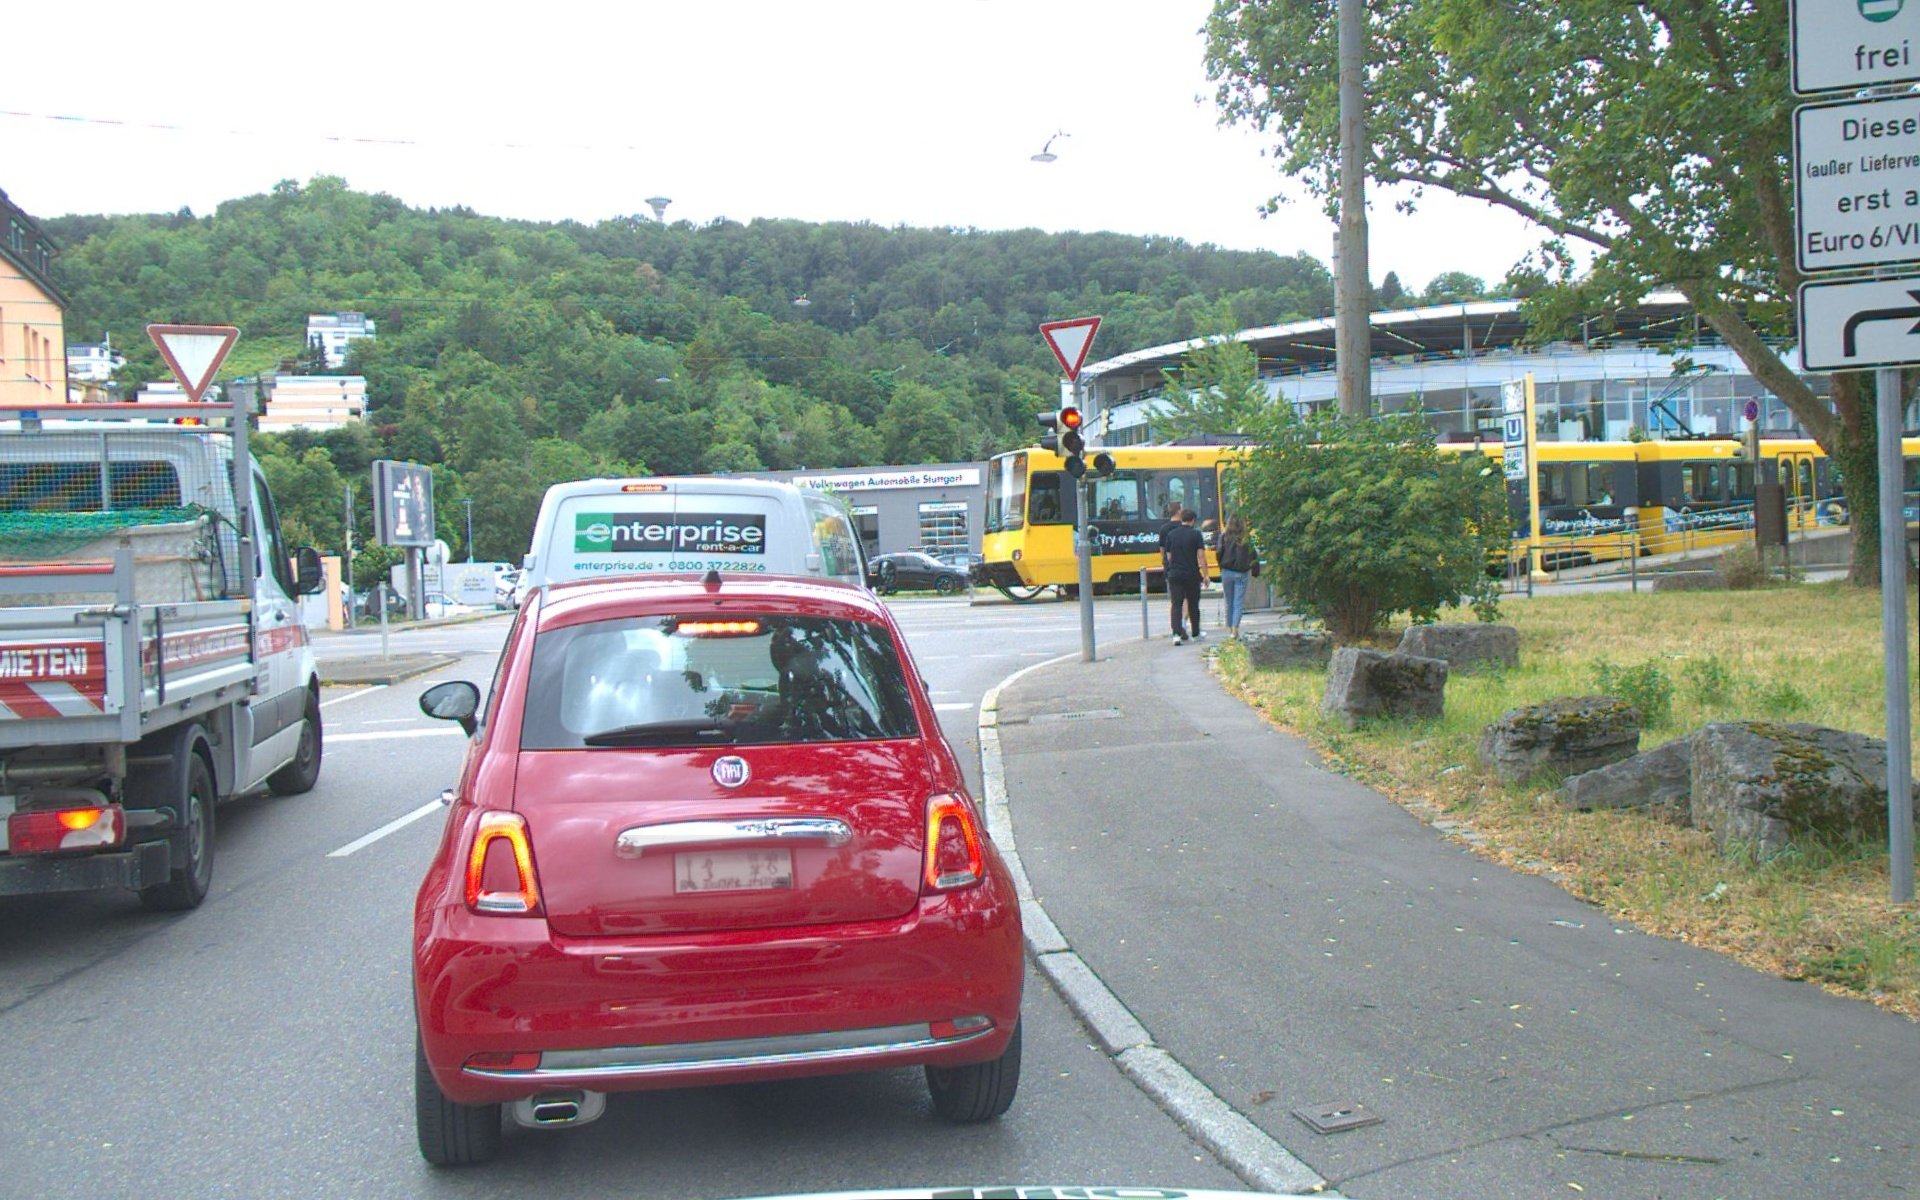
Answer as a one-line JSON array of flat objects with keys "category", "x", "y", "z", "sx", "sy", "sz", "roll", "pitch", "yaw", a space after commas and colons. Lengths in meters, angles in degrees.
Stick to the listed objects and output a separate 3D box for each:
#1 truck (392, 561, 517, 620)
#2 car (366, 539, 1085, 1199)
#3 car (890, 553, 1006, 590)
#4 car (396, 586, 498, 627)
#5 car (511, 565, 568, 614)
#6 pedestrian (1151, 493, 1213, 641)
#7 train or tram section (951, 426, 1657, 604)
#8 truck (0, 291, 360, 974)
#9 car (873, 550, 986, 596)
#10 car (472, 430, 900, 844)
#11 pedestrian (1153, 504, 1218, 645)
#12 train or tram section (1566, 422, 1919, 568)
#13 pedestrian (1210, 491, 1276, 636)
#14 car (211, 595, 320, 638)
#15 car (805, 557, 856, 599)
[{"category": "truck", "x": -23.152, "y": -0.445, "z": 75.789, "sx": 5.127, "sy": 2.434, "sz": 1.981, "roll": -3, "pitch": 2, "yaw": -29}, {"category": "car", "x": -0.840, "y": 0.593, "z": 5.504, "sx": 1.610, "sy": 1.482, "sz": 3.421, "roll": -2, "pitch": 1, "yaw": -12}, {"category": "car", "x": -0.502, "y": -1.206, "z": 70.399, "sx": 4.572, "sy": 1.351, "sz": 1.777, "roll": -2, "pitch": 1, "yaw": 13}, {"category": "car", "x": -22.481, "y": 0.282, "z": 72.636, "sx": 4.135, "sy": 1.560, "sz": 1.768, "roll": -3, "pitch": 2, "yaw": -16}, {"category": "car", "x": -17.289, "y": -0.462, "z": 68.142, "sx": 1.826, "sy": 1.849, "sz": 4.393, "roll": -3, "pitch": 2, "yaw": -9}, {"category": "pedestrian", "x": 2.931, "y": -0.439, "z": 21.766, "sx": 0.678, "sy": 1.889, "sz": 0.789, "roll": -2, "pitch": 1, "yaw": 11}, {"category": "train or tram section", "x": 9.107, "y": -2.272, "z": 41.405, "sx": 18.859, "sy": 3.729, "sz": 3.254, "roll": -3, "pitch": 2, "yaw": -24}, {"category": "truck", "x": -4.822, "y": 0.118, "z": 8.666, "sx": 2.381, "sy": 2.439, "sz": 6.008, "roll": -3, "pitch": 1, "yaw": -14}, {"category": "car", "x": -1.136, "y": -0.992, "z": 61.373, "sx": 3.787, "sy": 1.526, "sz": 1.777, "roll": -2, "pitch": 1, "yaw": 16}, {"category": "car", "x": -1.570, "y": 0.141, "z": 11.341, "sx": 1.948, "sy": 2.143, "sz": 4.763, "roll": -3, "pitch": 1, "yaw": 1}, {"category": "pedestrian", "x": 2.884, "y": -0.329, "z": 21.106, "sx": 0.678, "sy": 1.744, "sz": 0.789, "roll": -2, "pitch": 1, "yaw": 12}, {"category": "train or tram section", "x": 26.382, "y": -3.234, "z": 48.931, "sx": 18.859, "sy": 3.729, "sz": 3.254, "roll": -3, "pitch": 2, "yaw": -24}, {"category": "pedestrian", "x": 3.580, "y": -0.459, "z": 20.873, "sx": 0.678, "sy": 1.770, "sz": 0.789, "roll": -2, "pitch": 1, "yaw": 15}, {"category": "car", "x": -29.466, "y": 0.668, "z": 70.278, "sx": 4.146, "sy": 1.560, "sz": 1.763, "roll": -3, "pitch": 2, "yaw": -23}, {"category": "car", "x": -6.129, "y": -1.077, "z": 78.751, "sx": 1.952, "sy": 1.847, "sz": 4.001, "roll": -2, "pitch": 2, "yaw": 1}]
